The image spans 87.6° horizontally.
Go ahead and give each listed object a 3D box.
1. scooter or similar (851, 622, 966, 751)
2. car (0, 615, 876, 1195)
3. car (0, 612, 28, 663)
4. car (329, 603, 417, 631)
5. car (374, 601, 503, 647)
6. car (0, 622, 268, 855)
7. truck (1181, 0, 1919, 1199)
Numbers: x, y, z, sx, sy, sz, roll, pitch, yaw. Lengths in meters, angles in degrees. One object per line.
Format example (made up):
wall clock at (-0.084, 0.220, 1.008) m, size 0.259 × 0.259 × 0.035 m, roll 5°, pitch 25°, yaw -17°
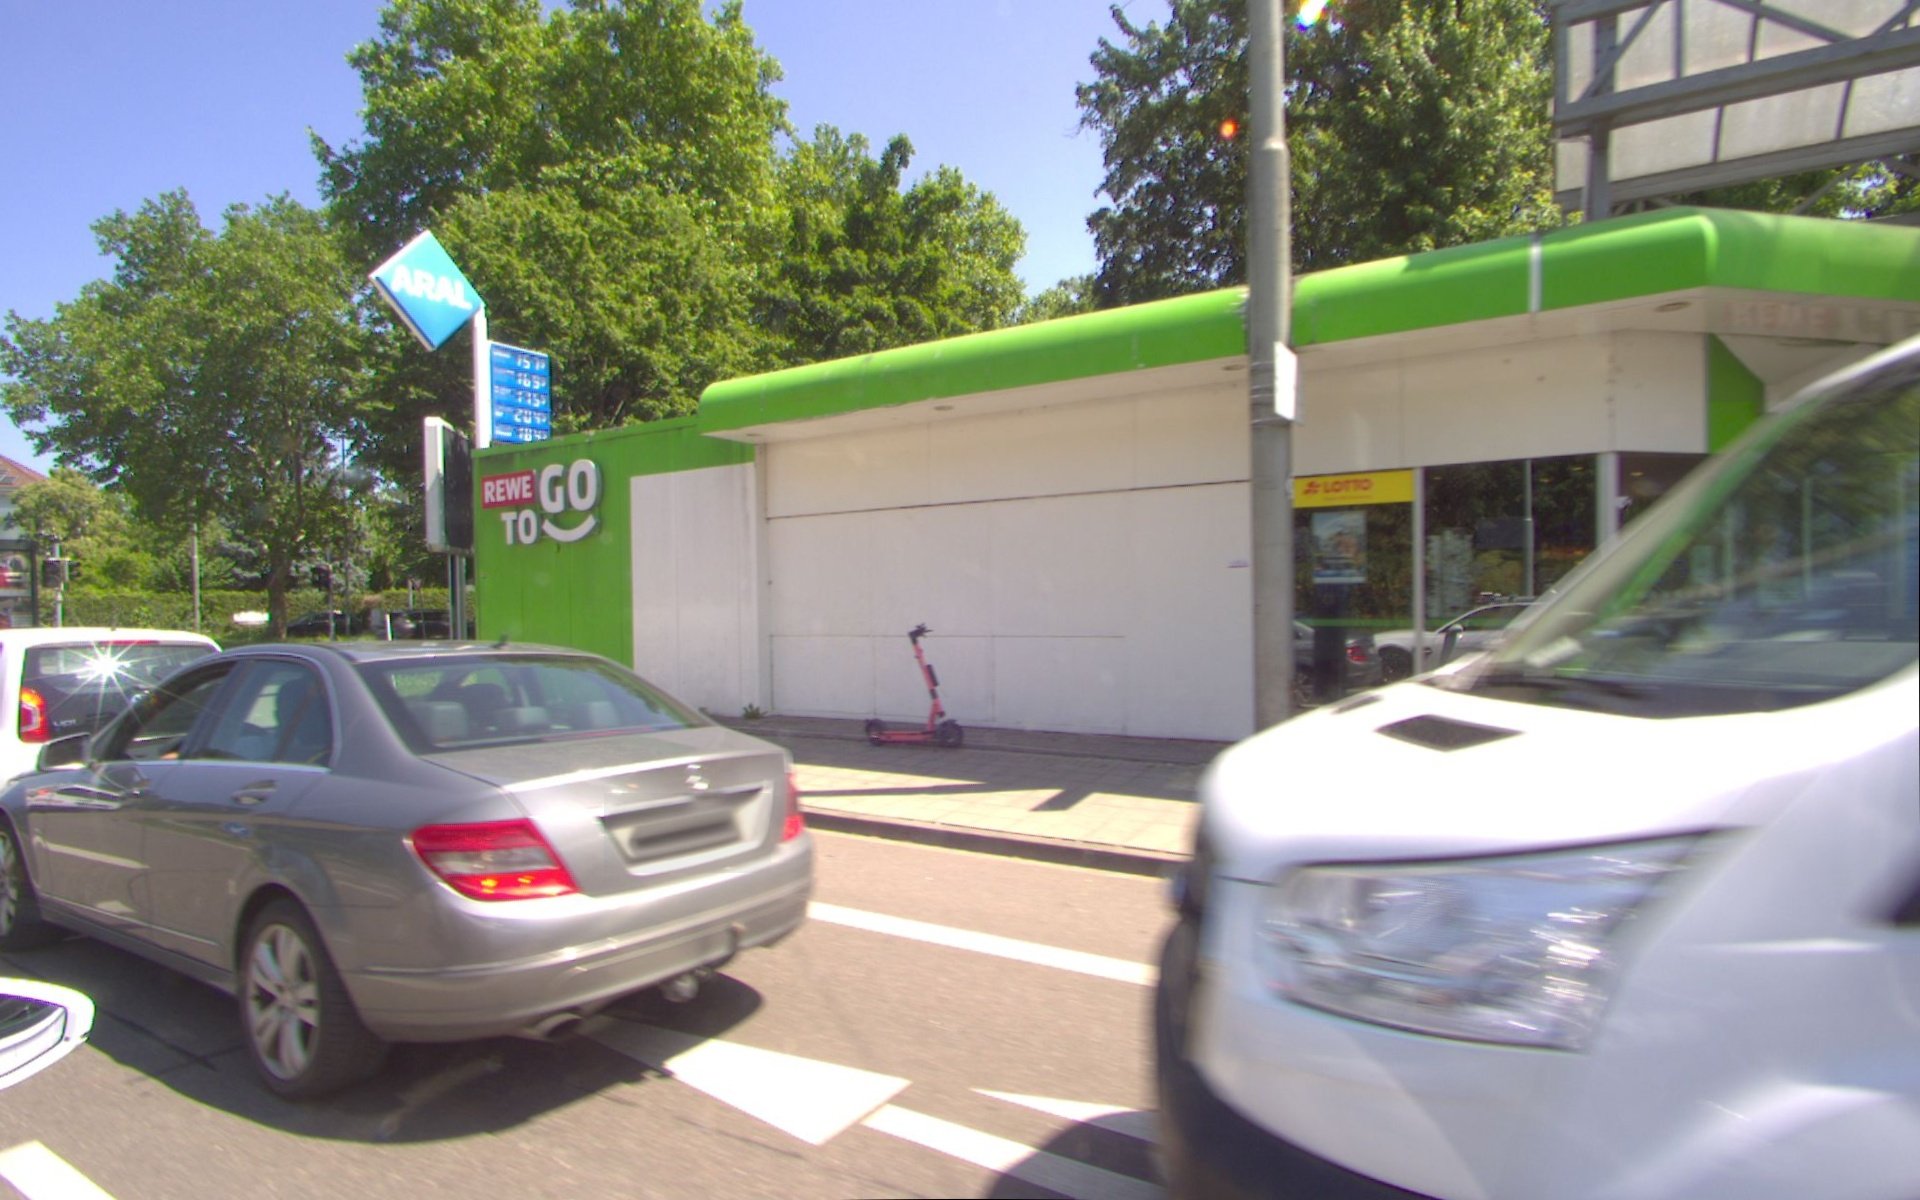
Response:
scooter or similar at (-0.529, 0.842, 10.044) m, size 1.124 × 1.211 × 0.381 m, roll -1°, pitch 3°, yaw 36°
car at (-2.652, 0.818, 4.497) m, size 4.355 × 1.469 × 1.792 m, roll -1°, pitch 0°, yaw 33°
car at (-32.761, 1.228, 31.809) m, size 4.401 × 1.639 × 1.985 m, roll 0°, pitch 0°, yaw -37°
car at (-33.614, 0.965, 57.413) m, size 1.976 × 1.528 × 3.969 m, roll -1°, pitch 0°, yaw 39°
car at (-22.036, 0.969, 42.423) m, size 4.494 × 1.853 × 1.981 m, roll 0°, pitch 0°, yaw -44°
car at (-7.153, 0.911, 7.889) m, size 3.471 × 1.470 × 1.604 m, roll -1°, pitch -1°, yaw 33°
truck at (4.316, -0.203, 1.552) m, size 7.685 × 3.436 × 2.426 m, roll -1°, pitch 0°, yaw 12°
